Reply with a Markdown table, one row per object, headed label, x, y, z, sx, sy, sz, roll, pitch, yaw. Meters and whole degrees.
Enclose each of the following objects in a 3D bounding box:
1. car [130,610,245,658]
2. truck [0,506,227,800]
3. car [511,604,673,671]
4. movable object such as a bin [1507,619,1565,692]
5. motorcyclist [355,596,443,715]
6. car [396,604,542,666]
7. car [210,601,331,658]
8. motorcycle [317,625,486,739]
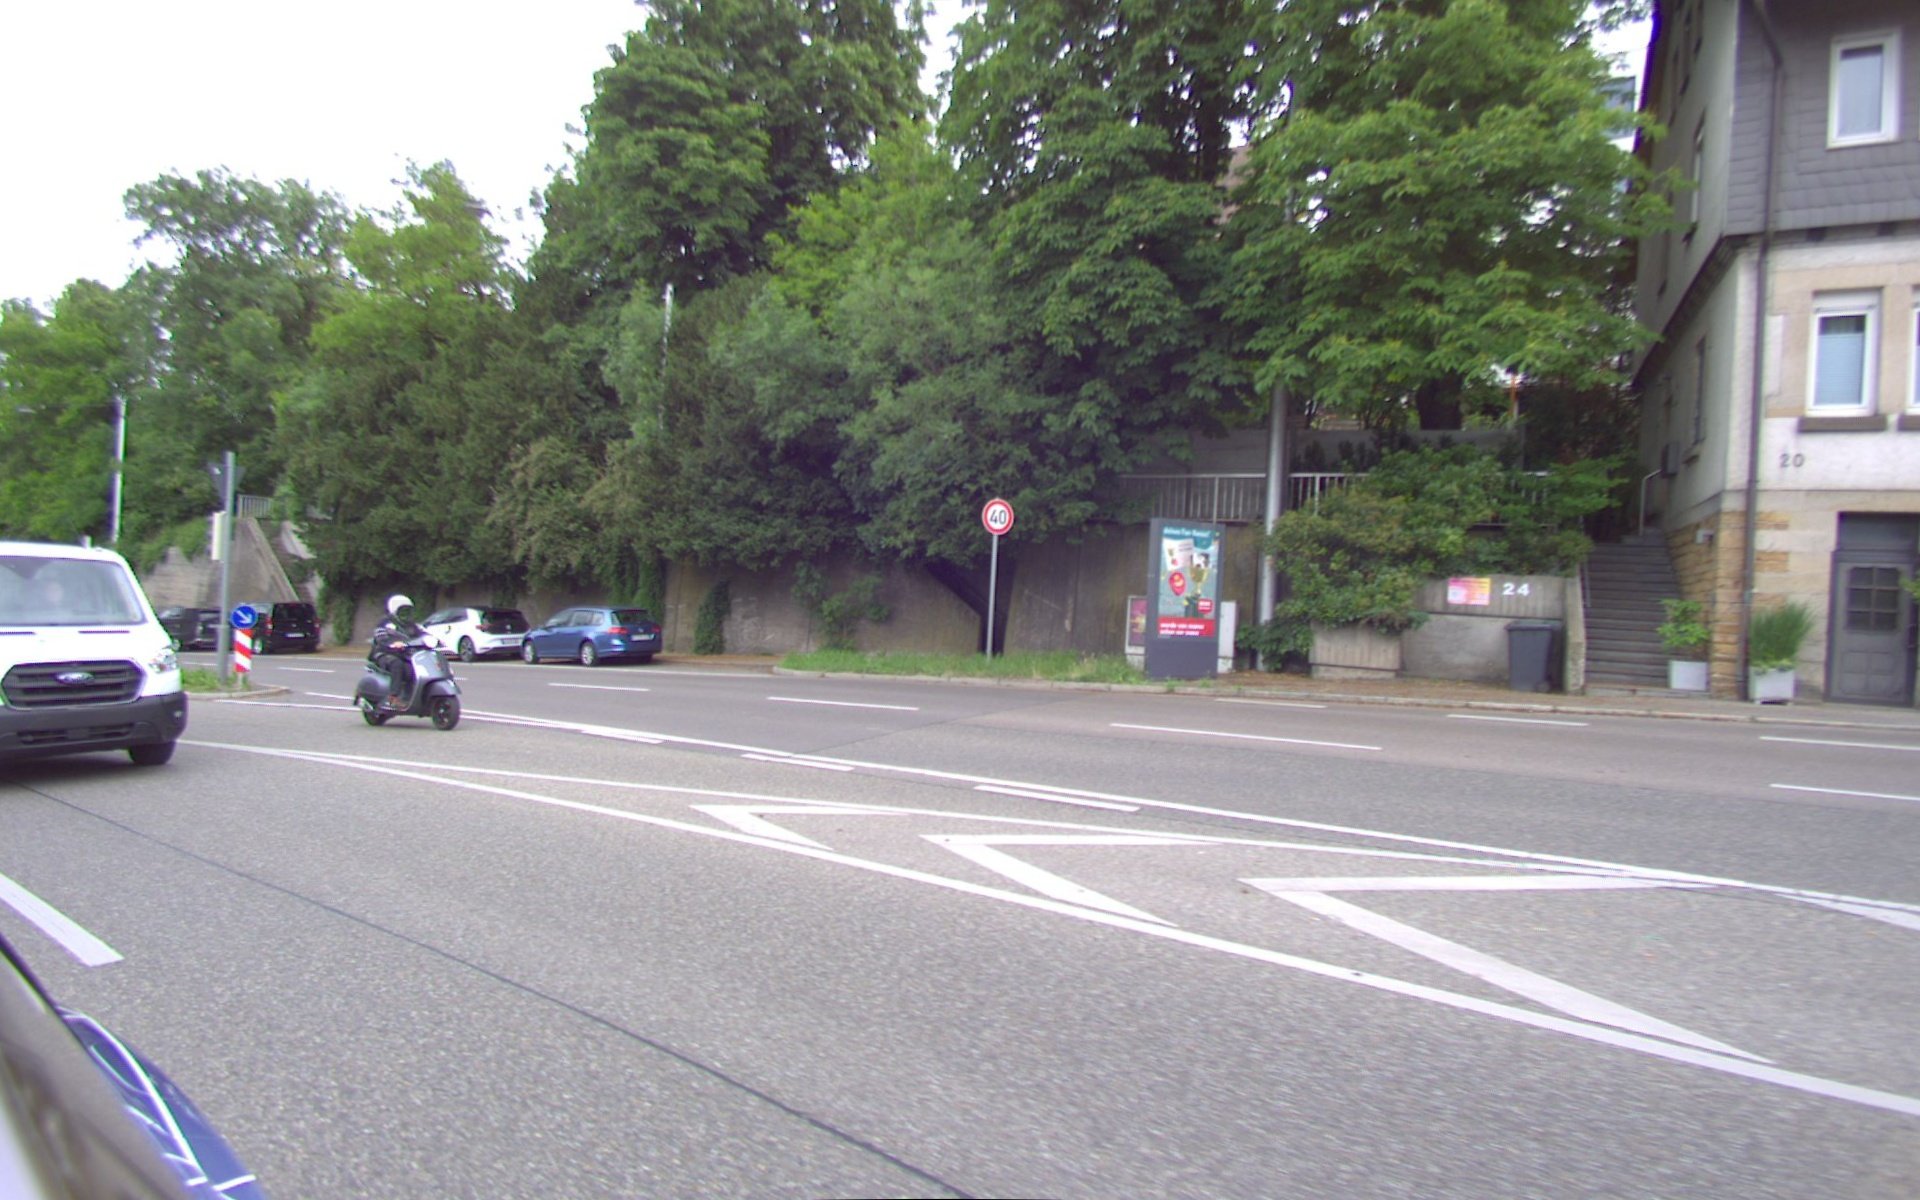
| label | x | y | z | sx | sy | sz | roll | pitch | yaw |
| --- | --- | --- | --- | --- | --- | --- | --- | --- | --- |
| car | -29.192 | 1.254 | 38.215 | 4.516 | 1.669 | 1.955 | -1 | 0 | 32 |
| truck | -10.115 | 0.435 | 10.126 | 6.304 | 2.338 | 2.061 | 0 | 0 | 29 |
| car | -9.321 | 0.919 | 25.502 | 4.292 | 1.540 | 1.697 | -2 | 0 | 36 |
| movable object such as a bin | 8.575 | 0.813 | 15.066 | 0.647 | 1.027 | 0.532 | 1 | 0 | 41 |
| motorcyclist | -6.976 | 0.674 | 12.602 | 0.719 | 1.430 | 0.678 | -1 | -1 | 27 |
| car | -14.027 | 0.980 | 28.862 | 4.155 | 1.641 | 1.767 | -2 | 0 | 31 |
| car | -24.189 | 1.024 | 35.468 | 4.471 | 1.857 | 1.767 | -2 | 0 | 31 |
| motorcycle | -6.912 | 0.971 | 12.514 | 2.035 | 1.309 | 0.823 | -1 | -1 | 26 |
